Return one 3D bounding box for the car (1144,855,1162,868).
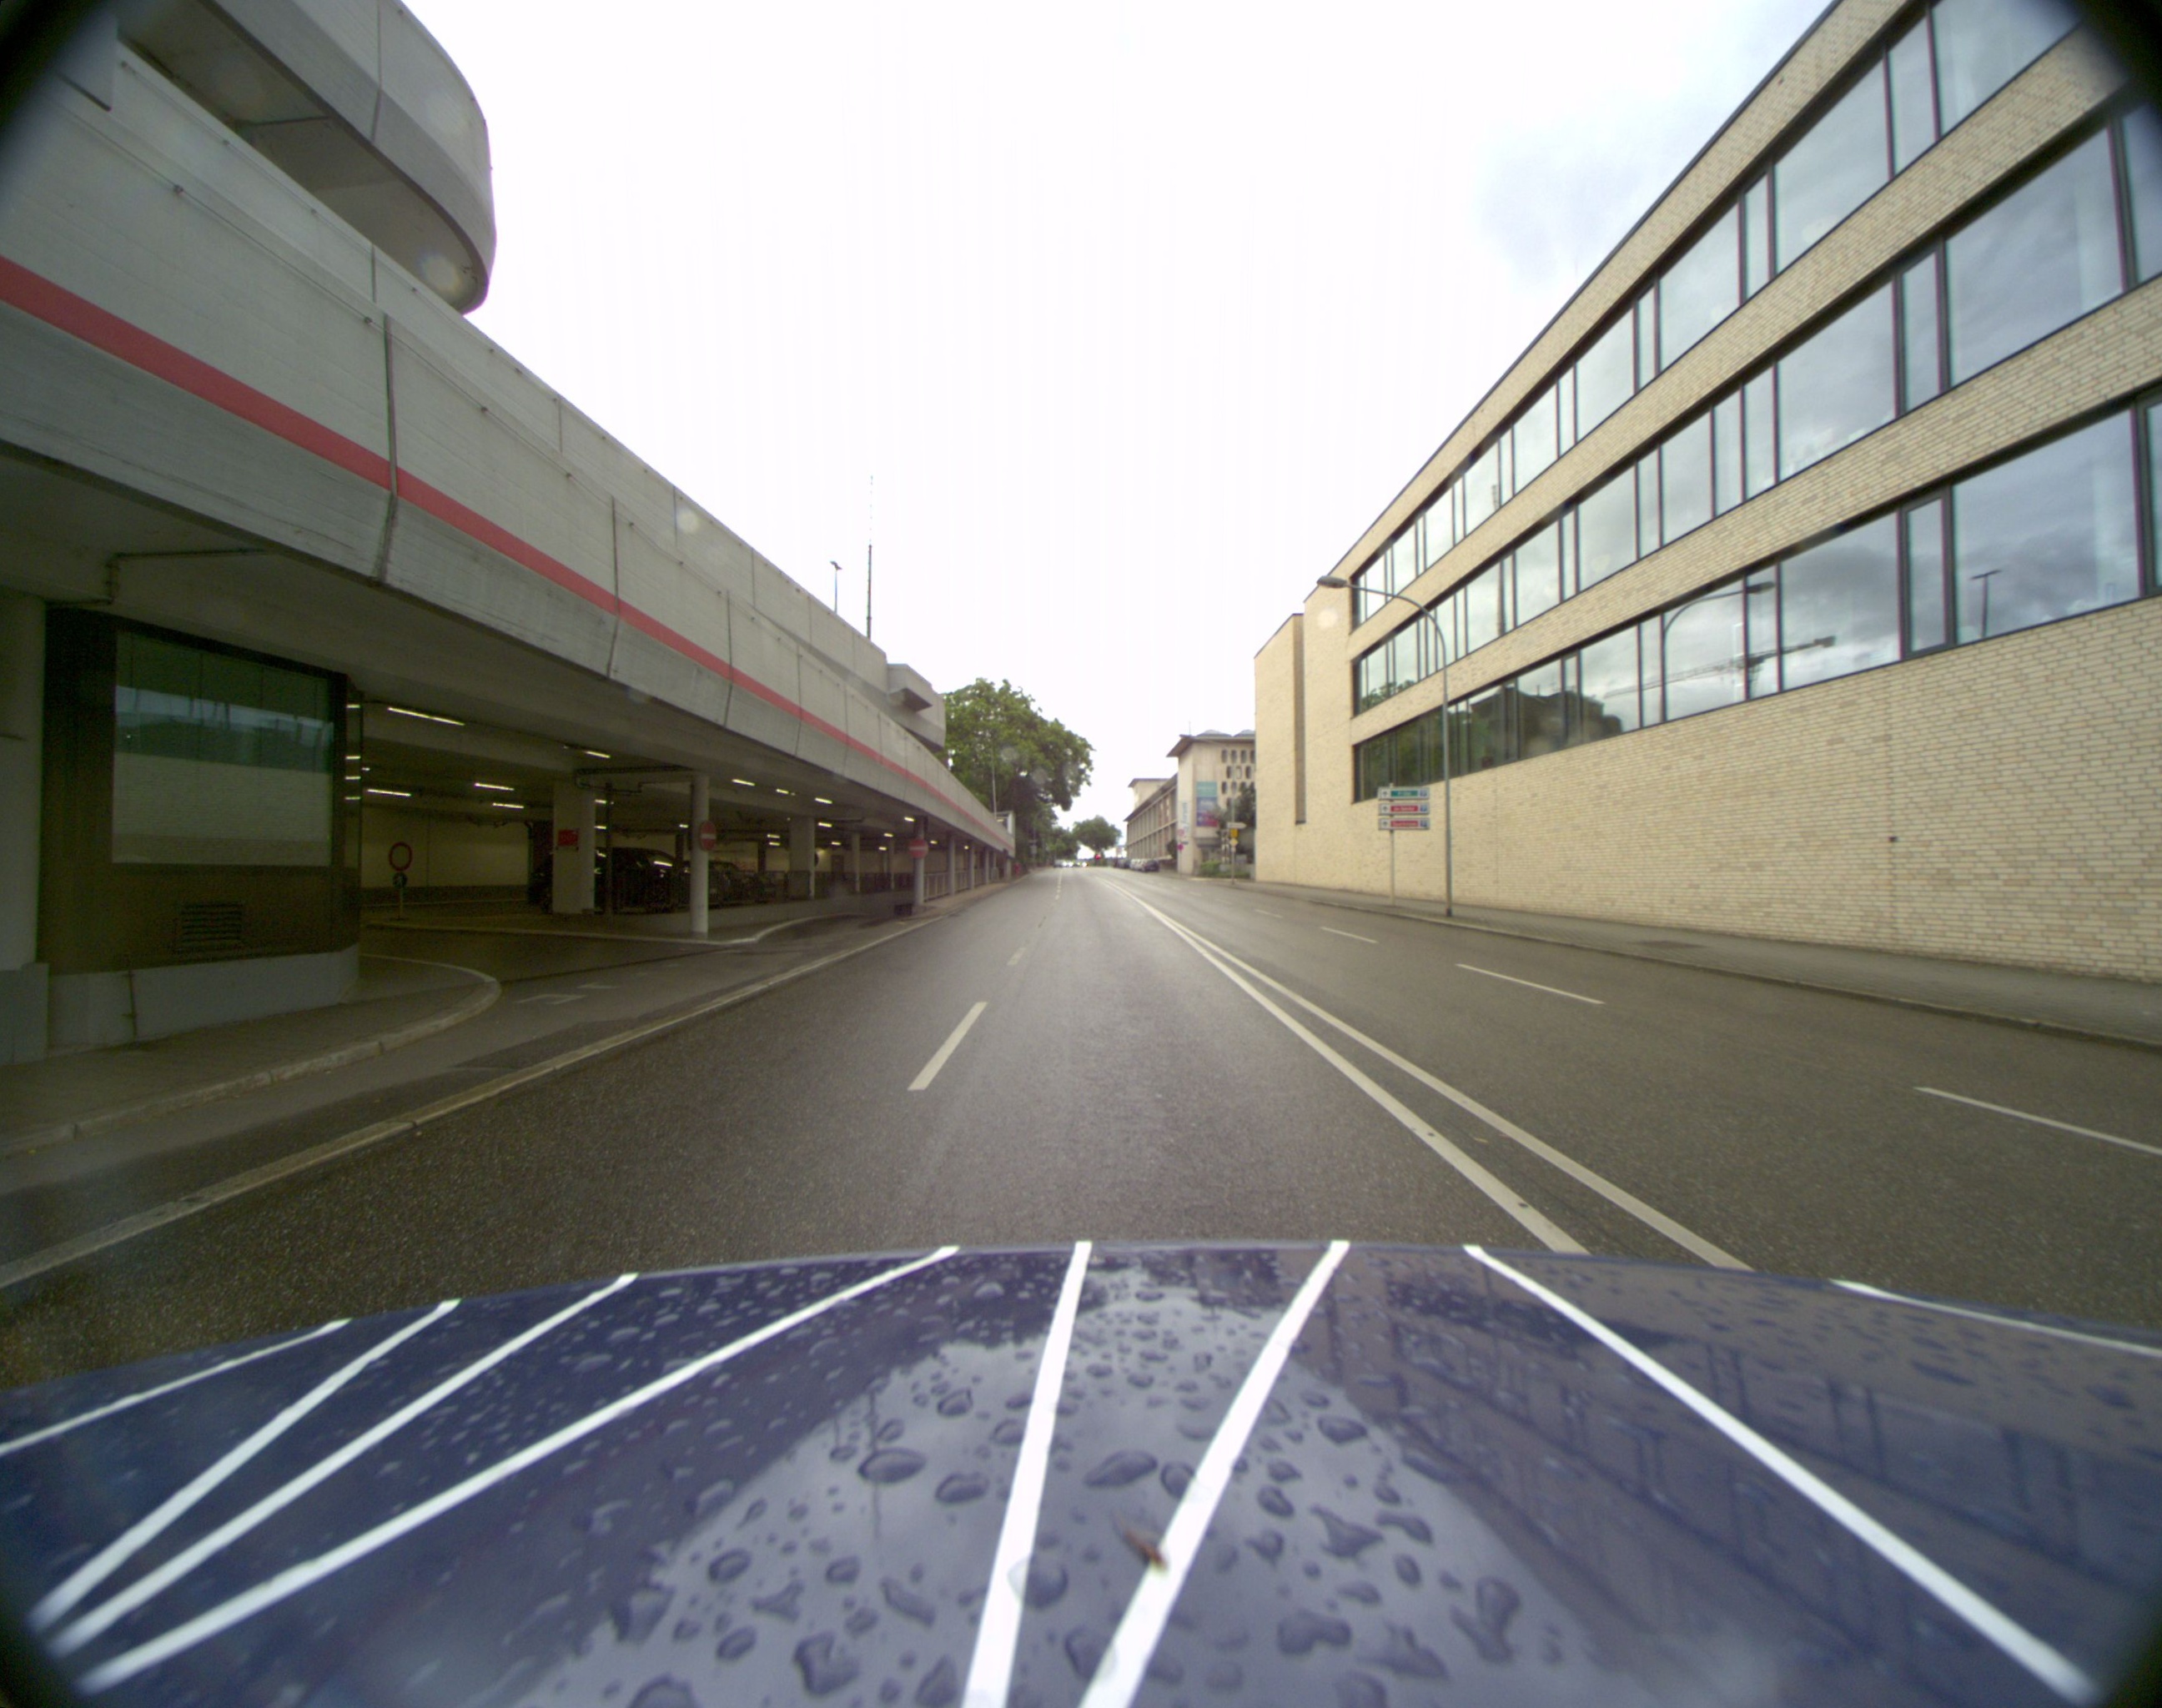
[{"bbox_3d":[8.601,0.928,91.113,1.800,1.516,4.056,-2,-1,1],"label":"car"}]

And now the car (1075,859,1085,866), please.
[{"bbox_3d":[-0.174,1.779,156.969,1.852,1.516,3.990,-2,-1,1],"label":"car"}]

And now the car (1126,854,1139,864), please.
[{"bbox_3d":[8.279,0.824,121.630,1.800,1.516,4.056,-2,-1,1],"label":"car"}]

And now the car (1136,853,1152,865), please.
[{"bbox_3d":[8.443,0.658,102.096,1.800,1.516,4.056,-2,-1,1],"label":"car"}]

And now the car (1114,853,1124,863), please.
[{"bbox_3d":[7.185,0.782,142.492,1.698,1.715,3.756,-2,1,1],"label":"car"}]

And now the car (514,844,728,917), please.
[{"bbox_3d":[-11.389,0.702,18.969,4.251,1.650,2.003,-1,-4,10],"label":"car"}]

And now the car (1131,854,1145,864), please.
[{"bbox_3d":[8.484,0.757,112.807,1.800,1.516,4.056,-2,-1,1],"label":"car"}]

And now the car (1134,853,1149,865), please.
[{"bbox_3d":[8.492,0.702,106.886,1.800,1.516,4.056,-2,-1,1],"label":"car"}]

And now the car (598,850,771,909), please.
[{"bbox_3d":[-11.919,0.826,22.993,4.251,1.650,2.003,-1,-4,10],"label":"car"}]

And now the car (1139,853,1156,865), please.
[{"bbox_3d":[8.469,0.631,96.546,1.800,1.516,4.056,-2,-1,1],"label":"car"}]

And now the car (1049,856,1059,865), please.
[{"bbox_3d":[-5.024,1.250,141.486,1.683,1.516,3.990,-2,-1,1],"label":"car"}]
